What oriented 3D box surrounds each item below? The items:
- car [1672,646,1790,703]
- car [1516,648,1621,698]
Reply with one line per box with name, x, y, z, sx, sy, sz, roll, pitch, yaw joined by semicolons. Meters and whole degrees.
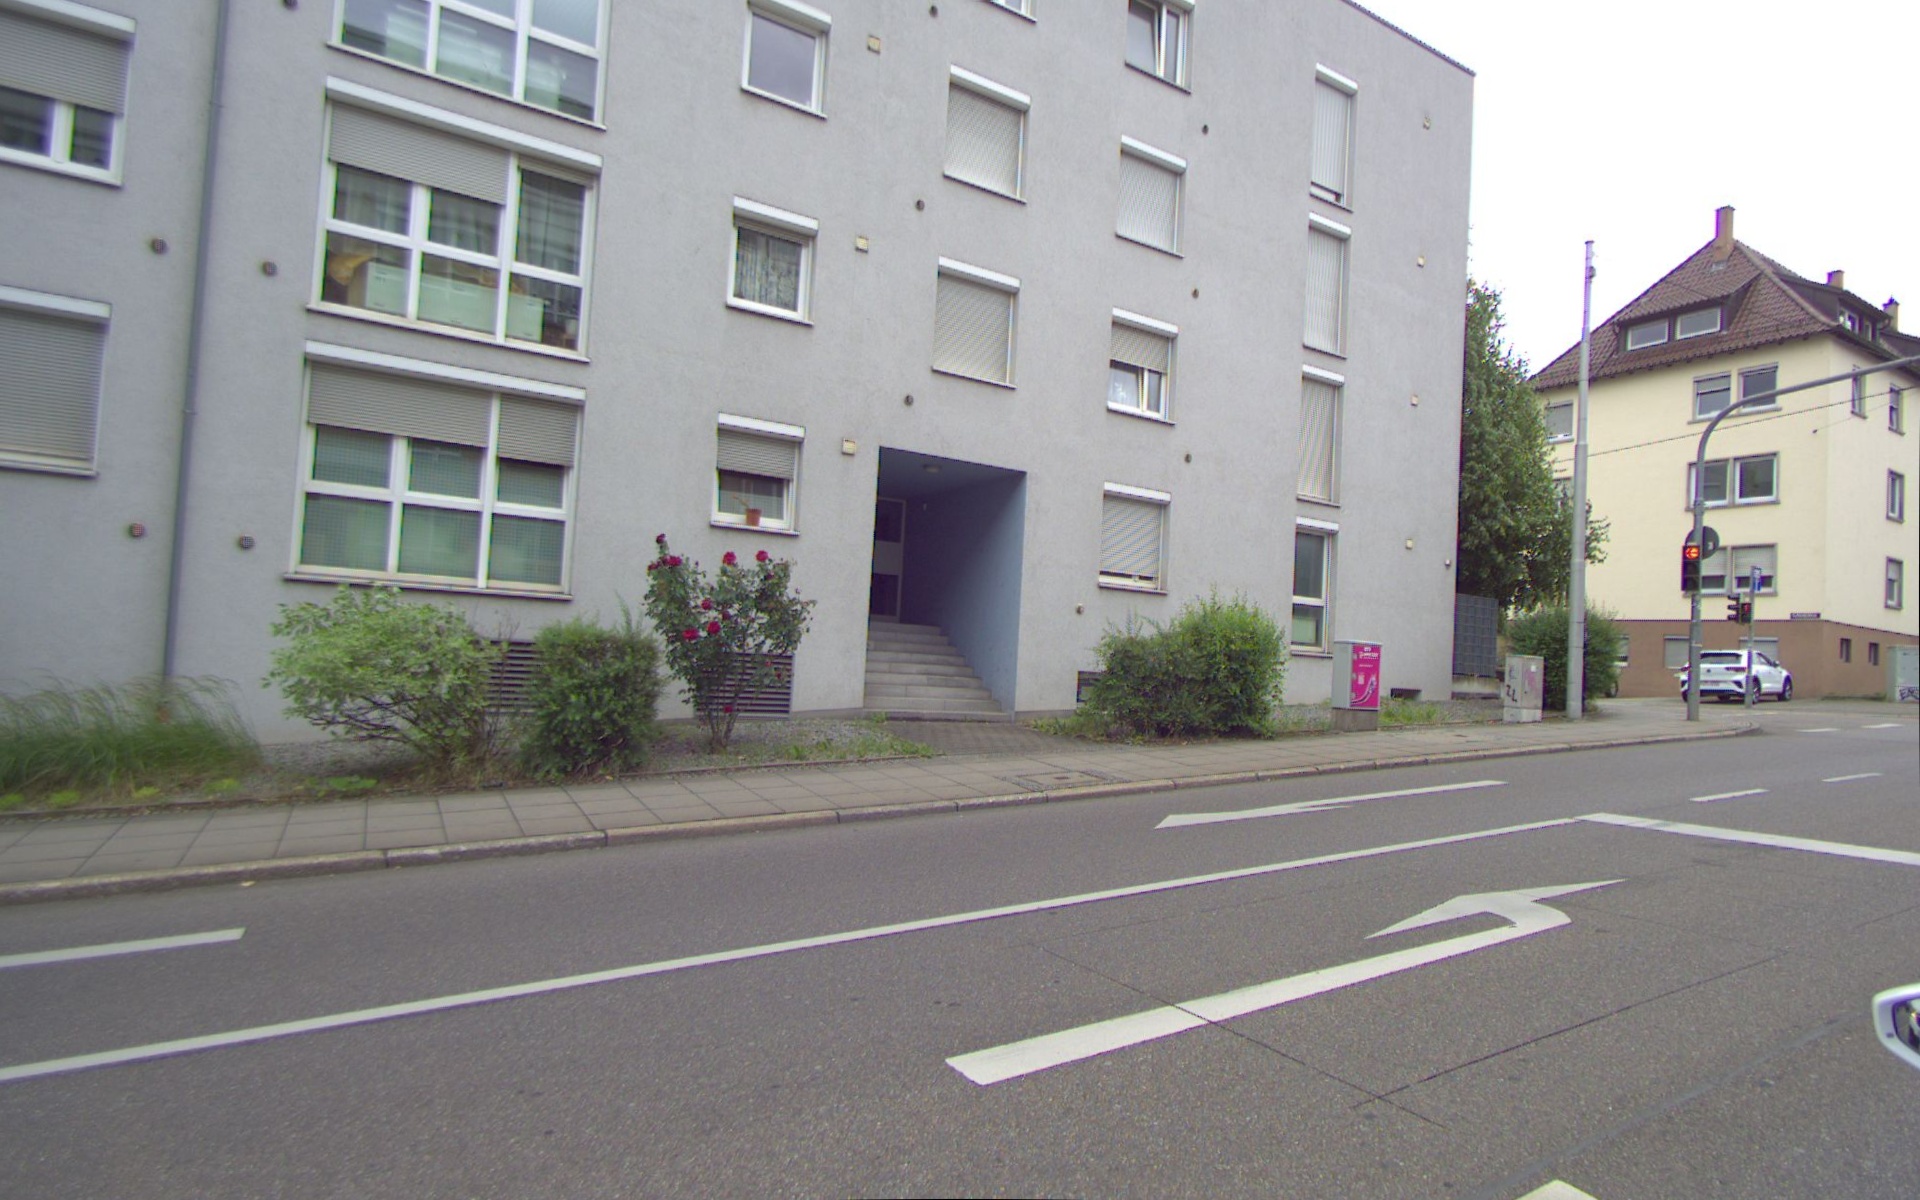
car;23.046;2.194;30.001;3.727;1.575;1.681;1;-4;-34
car;20.935;2.479;34.536;3.727;1.629;1.681;1;-4;-34
